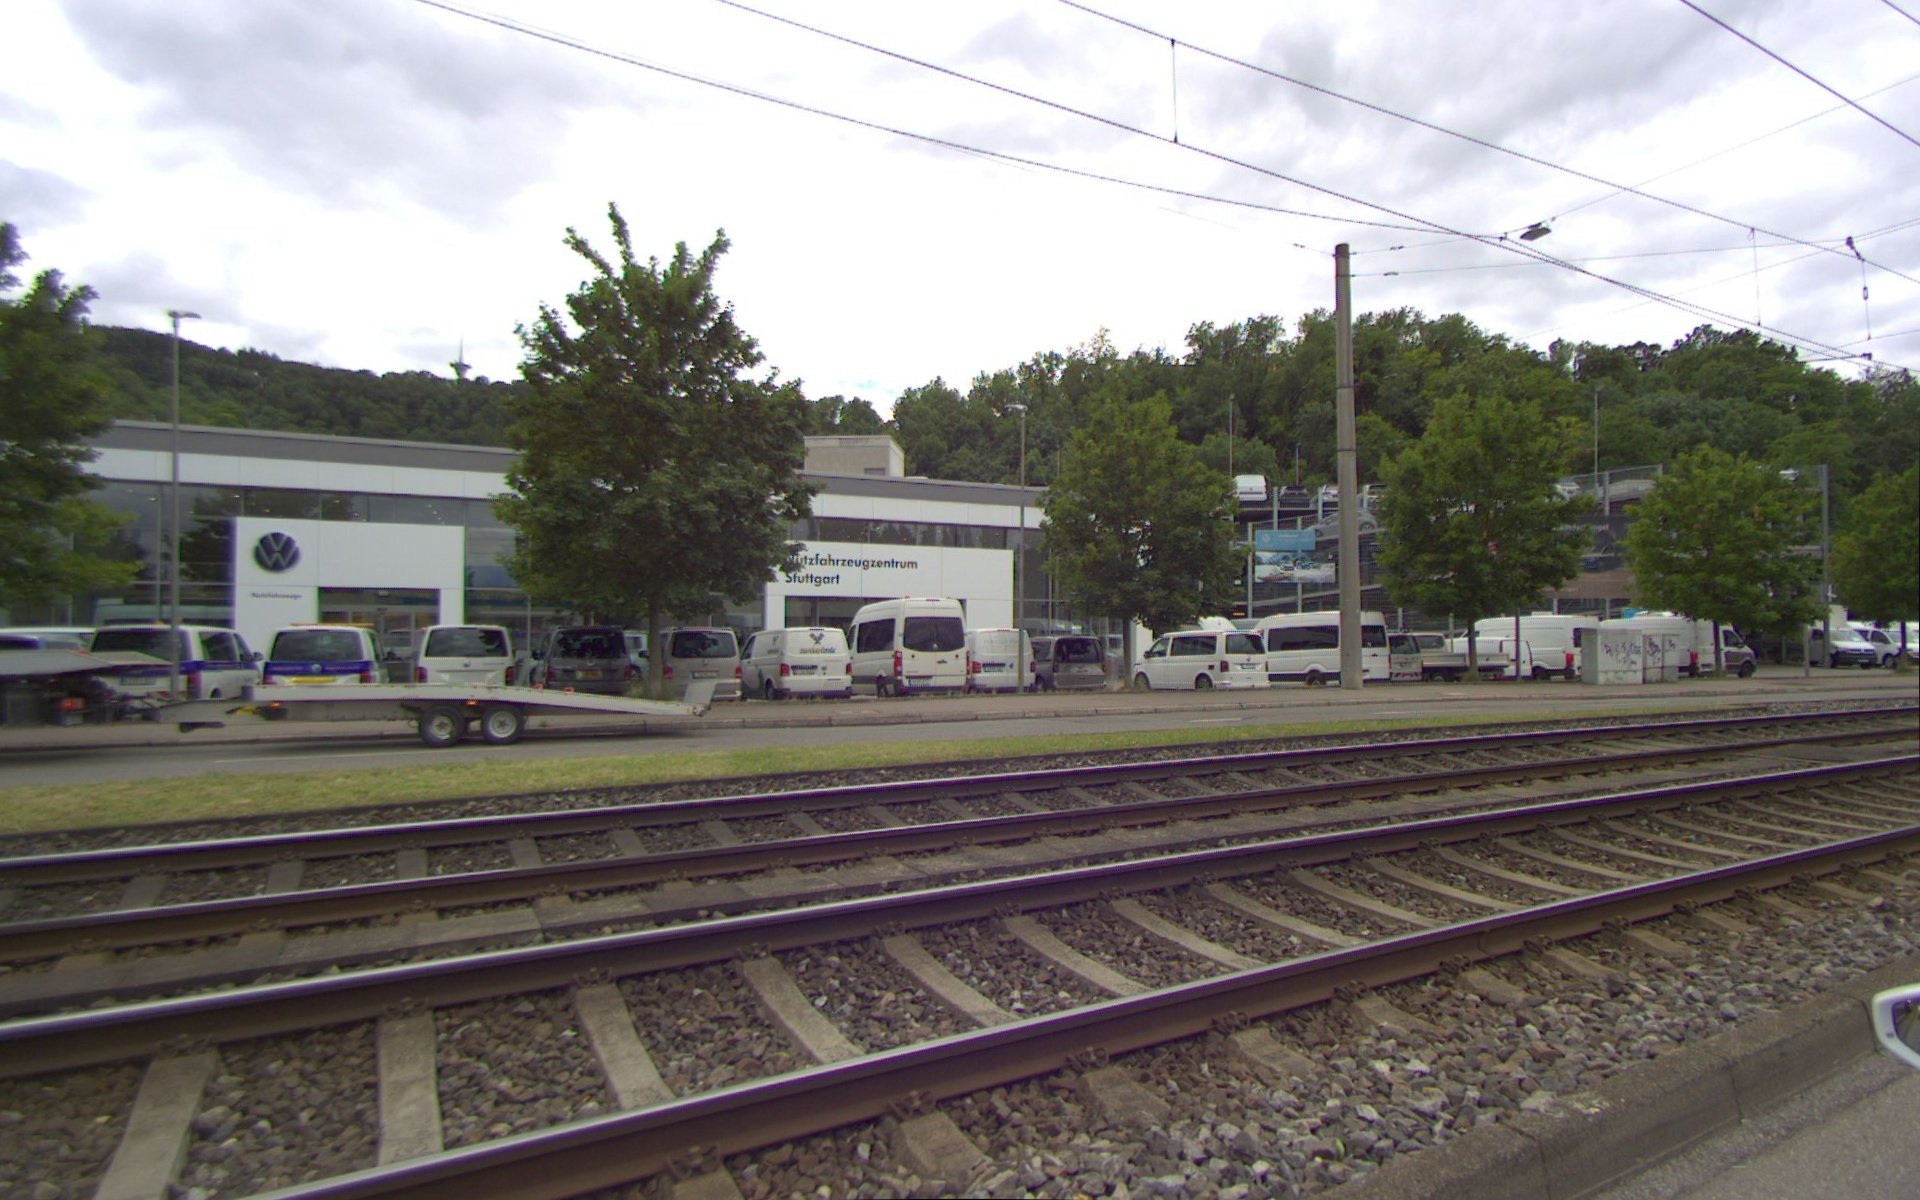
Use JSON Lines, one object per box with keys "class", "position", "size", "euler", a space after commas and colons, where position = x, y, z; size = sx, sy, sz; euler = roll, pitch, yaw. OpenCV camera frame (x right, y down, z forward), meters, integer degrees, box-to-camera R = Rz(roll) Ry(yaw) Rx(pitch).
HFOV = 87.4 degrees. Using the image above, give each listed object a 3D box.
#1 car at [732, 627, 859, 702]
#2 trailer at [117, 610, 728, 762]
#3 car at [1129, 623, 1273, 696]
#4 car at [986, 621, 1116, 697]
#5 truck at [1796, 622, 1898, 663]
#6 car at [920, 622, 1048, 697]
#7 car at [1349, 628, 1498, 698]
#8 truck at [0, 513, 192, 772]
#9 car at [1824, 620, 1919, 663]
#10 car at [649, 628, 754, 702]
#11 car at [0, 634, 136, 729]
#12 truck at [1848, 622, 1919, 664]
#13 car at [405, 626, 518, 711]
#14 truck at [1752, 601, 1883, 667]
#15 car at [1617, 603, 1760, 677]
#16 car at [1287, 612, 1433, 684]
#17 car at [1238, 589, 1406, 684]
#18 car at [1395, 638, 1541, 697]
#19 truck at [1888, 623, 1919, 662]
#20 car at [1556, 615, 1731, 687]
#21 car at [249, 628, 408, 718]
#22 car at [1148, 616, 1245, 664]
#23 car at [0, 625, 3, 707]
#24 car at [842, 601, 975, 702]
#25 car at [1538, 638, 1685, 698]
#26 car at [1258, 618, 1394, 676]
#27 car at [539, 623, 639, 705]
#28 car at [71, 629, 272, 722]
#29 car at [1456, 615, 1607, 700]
{"class": "car", "position": [-4.209, 1.532, 25.106], "size": [2.004, 1.711, 4.352], "euler": [1, -2, -25]}
{"class": "trailer", "position": [-6.886, 1.113, 13.908], "size": [6.854, 1.720, 2.376], "euler": [1, -4, -25]}
{"class": "car", "position": [7.244, 1.750, 30.611], "size": [1.978, 2.037, 4.352], "euler": [1, -2, -26]}
{"class": "car", "position": [2.469, 1.613, 28.517], "size": [1.974, 1.973, 4.359], "euler": [1, -2, -21]}
{"class": "truck", "position": [59.111, 2.817, 67.051], "size": [2.419, 2.622, 5.075], "euler": [0, -2, 3]}
{"class": "car", "position": [0.540, 1.548, 27.321], "size": [1.974, 1.869, 4.359], "euler": [1, -2, -21]}
{"class": "car", "position": [15.630, 2.071, 34.119], "size": [1.978, 2.201, 4.352], "euler": [1, -2, -26]}
{"class": "truck", "position": [-14.039, 0.467, 10.469], "size": [9.096, 2.777, 2.748], "euler": [1, -4, -26]}
{"class": "car", "position": [46.226, 2.086, 50.398], "size": [1.960, 2.040, 4.734], "euler": [0, -2, 5]}
{"class": "car", "position": [-6.405, 1.510, 24.543], "size": [1.974, 1.639, 4.359], "euler": [1, -2, -21]}
{"class": "car", "position": [-17.773, 1.478, 19.156], "size": [1.970, 1.639, 3.981], "euler": [1, -2, -21]}
{"class": "truck", "position": [62.027, 2.815, 65.948], "size": [2.419, 2.622, 5.781], "euler": [0, -2, 3]}
{"class": "car", "position": [-10.785, 1.407, 21.880], "size": [1.977, 1.639, 4.352], "euler": [1, -2, -26]}
{"class": "truck", "position": [43.311, 1.729, 50.959], "size": [2.077, 3.125, 5.943], "euler": [0, -2, 7]}
{"class": "car", "position": [31.304, 1.716, 43.148], "size": [5.848, 3.059, 2.105], "euler": [1, -2, -21]}
{"class": "car", "position": [13.221, 1.562, 33.475], "size": [1.978, 2.201, 4.352], "euler": [1, -2, -26]}
{"class": "car", "position": [11.290, 1.145, 31.738], "size": [2.087, 2.734, 4.950], "euler": [1, -2, -26]}
{"class": "car", "position": [17.936, 2.319, 35.688], "size": [1.978, 1.936, 4.352], "euler": [1, -2, -26]}
{"class": "truck", "position": [64.631, 2.799, 66.157], "size": [2.419, 2.622, 5.075], "euler": [0, -2, 3]}
{"class": "car", "position": [27.063, 1.967, 40.043], "size": [2.214, 2.636, 5.462], "euler": [1, -2, -22]}
{"class": "car", "position": [-12.819, 1.407, 20.661], "size": [1.970, 1.639, 3.981], "euler": [1, -2, -21]}
{"class": "car", "position": [10.684, 1.814, 45.790], "size": [1.970, 2.040, 4.837], "euler": [1, -2, -20]}
{"class": "car", "position": [-19.617, 1.262, 18.110], "size": [1.970, 1.639, 3.981], "euler": [1, -2, -21]}
{"class": "car", "position": [-1.423, 1.264, 25.602], "size": [2.094, 2.342, 4.489], "euler": [1, -2, -21]}
{"class": "car", "position": [24.793, 2.534, 38.412], "size": [1.978, 2.133, 4.352], "euler": [1, -2, -26]}
{"class": "car", "position": [17.576, 2.233, 48.451], "size": [5.861, 2.636, 1.996], "euler": [-1, -2, 39]}
{"class": "car", "position": [-8.652, 1.420, 23.406], "size": [1.974, 1.708, 4.359], "euler": [1, -2, -21]}
{"class": "car", "position": [-15.326, 1.392, 19.805], "size": [1.970, 1.639, 3.981], "euler": [1, -2, -21]}
{"class": "car", "position": [20.387, 2.007, 36.040], "size": [1.978, 2.856, 4.352], "euler": [1, -2, -26]}
